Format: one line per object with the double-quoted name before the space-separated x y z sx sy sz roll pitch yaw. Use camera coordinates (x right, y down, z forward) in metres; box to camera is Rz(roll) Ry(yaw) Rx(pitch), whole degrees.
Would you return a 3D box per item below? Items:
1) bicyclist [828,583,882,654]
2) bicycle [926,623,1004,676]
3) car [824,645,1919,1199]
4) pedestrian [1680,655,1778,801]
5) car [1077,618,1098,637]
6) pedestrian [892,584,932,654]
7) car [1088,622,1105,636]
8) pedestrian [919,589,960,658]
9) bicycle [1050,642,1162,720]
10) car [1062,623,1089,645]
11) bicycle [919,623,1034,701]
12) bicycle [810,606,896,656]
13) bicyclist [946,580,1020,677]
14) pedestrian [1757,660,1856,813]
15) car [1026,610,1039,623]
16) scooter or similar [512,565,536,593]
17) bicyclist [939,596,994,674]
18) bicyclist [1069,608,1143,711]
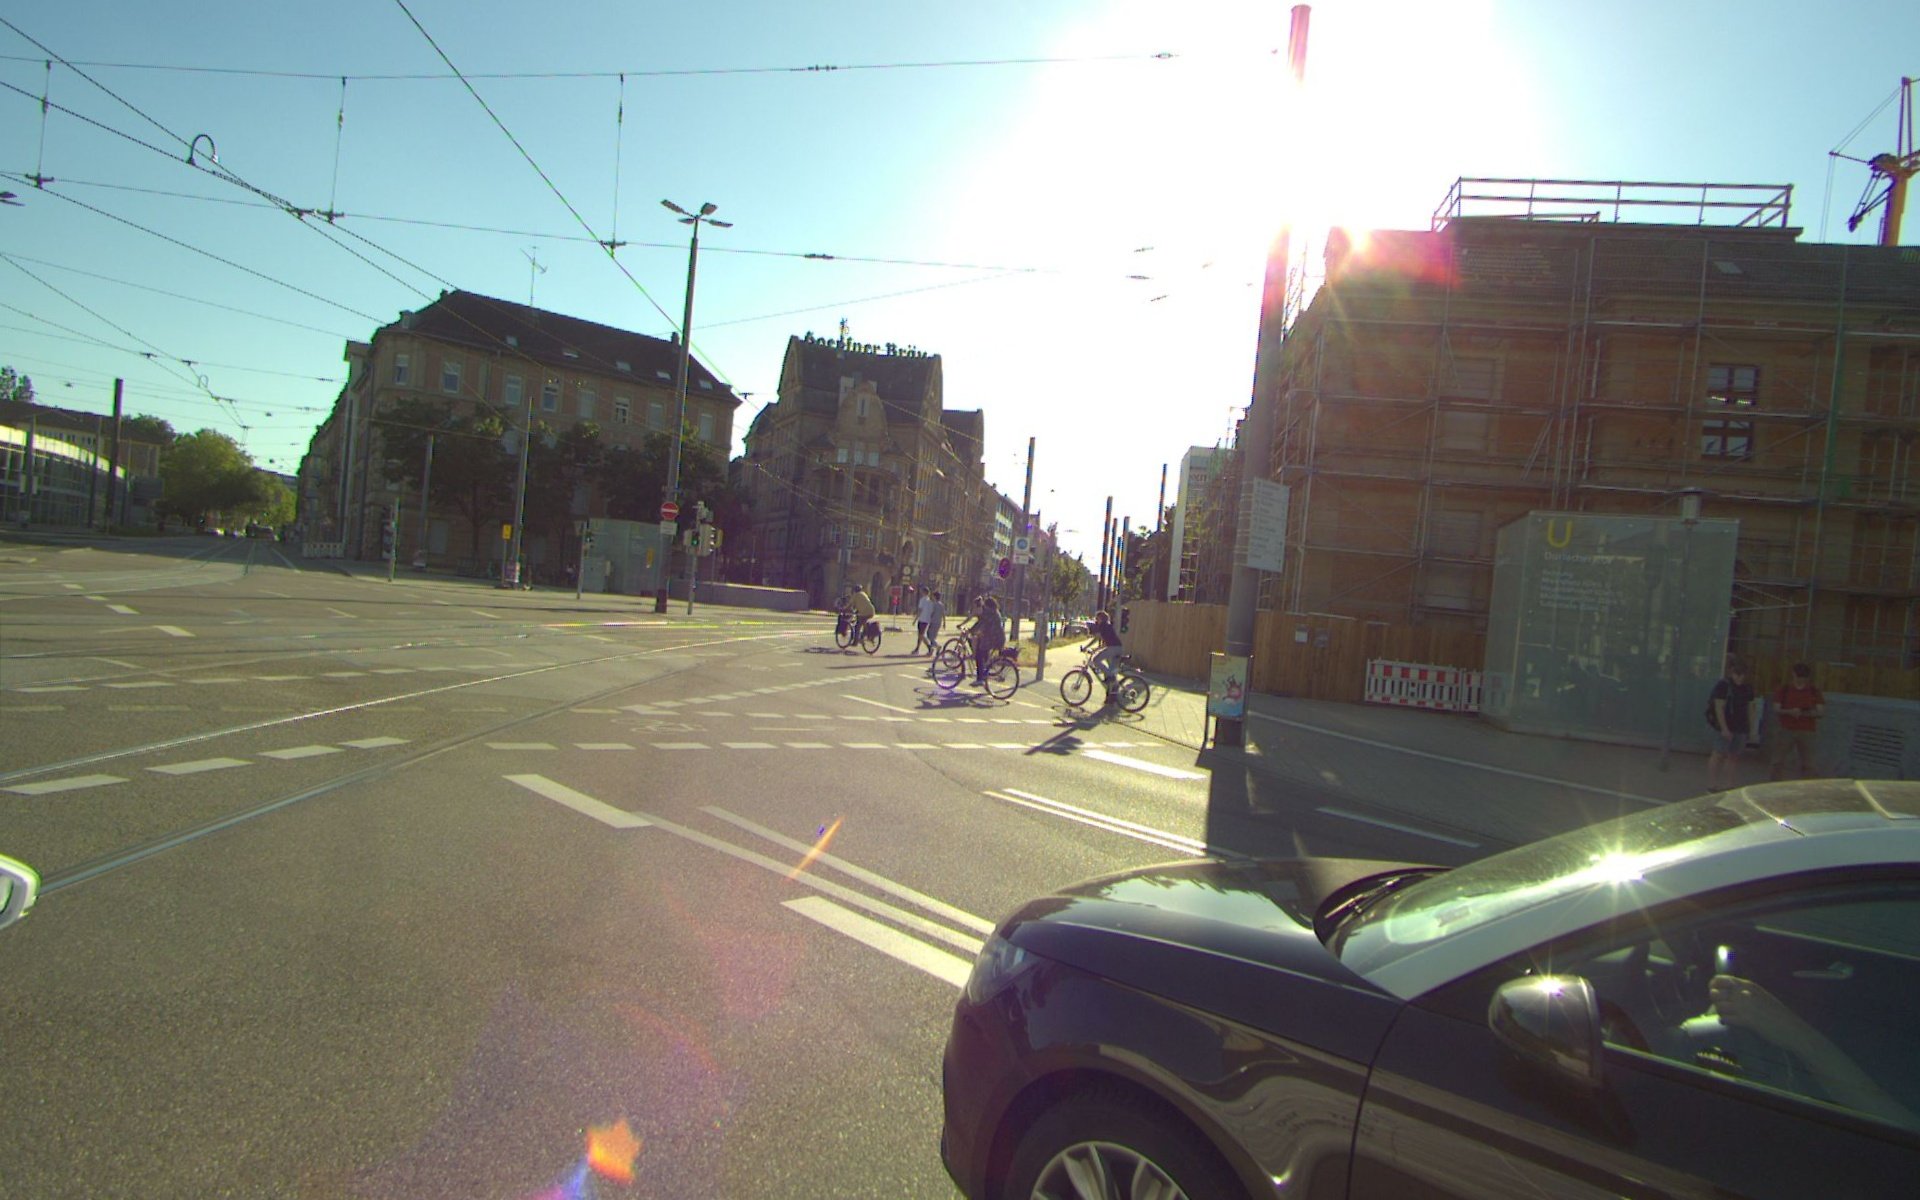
"bicyclist" -2.727 0.488 26.181 0.958 1.716 0.767 7 0 30
"bicycle" 0.095 1.157 23.834 0.644 1.040 1.884 6 0 -43
"car" 1.669 0.996 1.753 3.780 1.406 1.686 5 0 43
"pedestrian" 9.833 1.621 12.872 0.657 1.763 0.618 4 2 -25
"car" 12.232 2.647 96.275 1.723 1.481 4.023 5 -2 10
"pedestrian" -1.354 0.525 28.363 0.682 1.870 0.816 7 -1 -21
"car" 16.466 3.492 121.202 1.723 1.481 4.023 5 -2 10
"pedestrian" -0.588 0.665 28.570 0.682 1.870 0.816 7 -1 -22
"bicycle" 2.585 1.435 17.871 1.744 1.136 0.648 7 -1 26
"car" 8.889 2.665 77.517 1.723 1.481 4.023 5 -2 10
"bicycle" 0.288 1.100 18.031 1.871 1.136 0.647 6 -1 30
"bicycle" -2.797 0.798 26.211 2.070 1.040 0.767 6 0 30
"bicyclist" 0.413 0.508 18.001 0.958 1.587 0.647 6 -1 30
"pedestrian" 10.565 1.680 12.588 0.721 1.763 0.620 6 3 34
"car" 13.728 3.089 190.229 1.963 2.037 4.003 7 -2 1
"scooter or similar" -20.630 -1.008 47.607 0.719 1.215 1.441 6 0 -16
"bicyclist" 0.156 0.832 23.802 0.644 1.716 0.963 6 0 -43
"bicyclist" 2.597 1.057 17.893 0.958 1.681 0.648 7 -1 26
